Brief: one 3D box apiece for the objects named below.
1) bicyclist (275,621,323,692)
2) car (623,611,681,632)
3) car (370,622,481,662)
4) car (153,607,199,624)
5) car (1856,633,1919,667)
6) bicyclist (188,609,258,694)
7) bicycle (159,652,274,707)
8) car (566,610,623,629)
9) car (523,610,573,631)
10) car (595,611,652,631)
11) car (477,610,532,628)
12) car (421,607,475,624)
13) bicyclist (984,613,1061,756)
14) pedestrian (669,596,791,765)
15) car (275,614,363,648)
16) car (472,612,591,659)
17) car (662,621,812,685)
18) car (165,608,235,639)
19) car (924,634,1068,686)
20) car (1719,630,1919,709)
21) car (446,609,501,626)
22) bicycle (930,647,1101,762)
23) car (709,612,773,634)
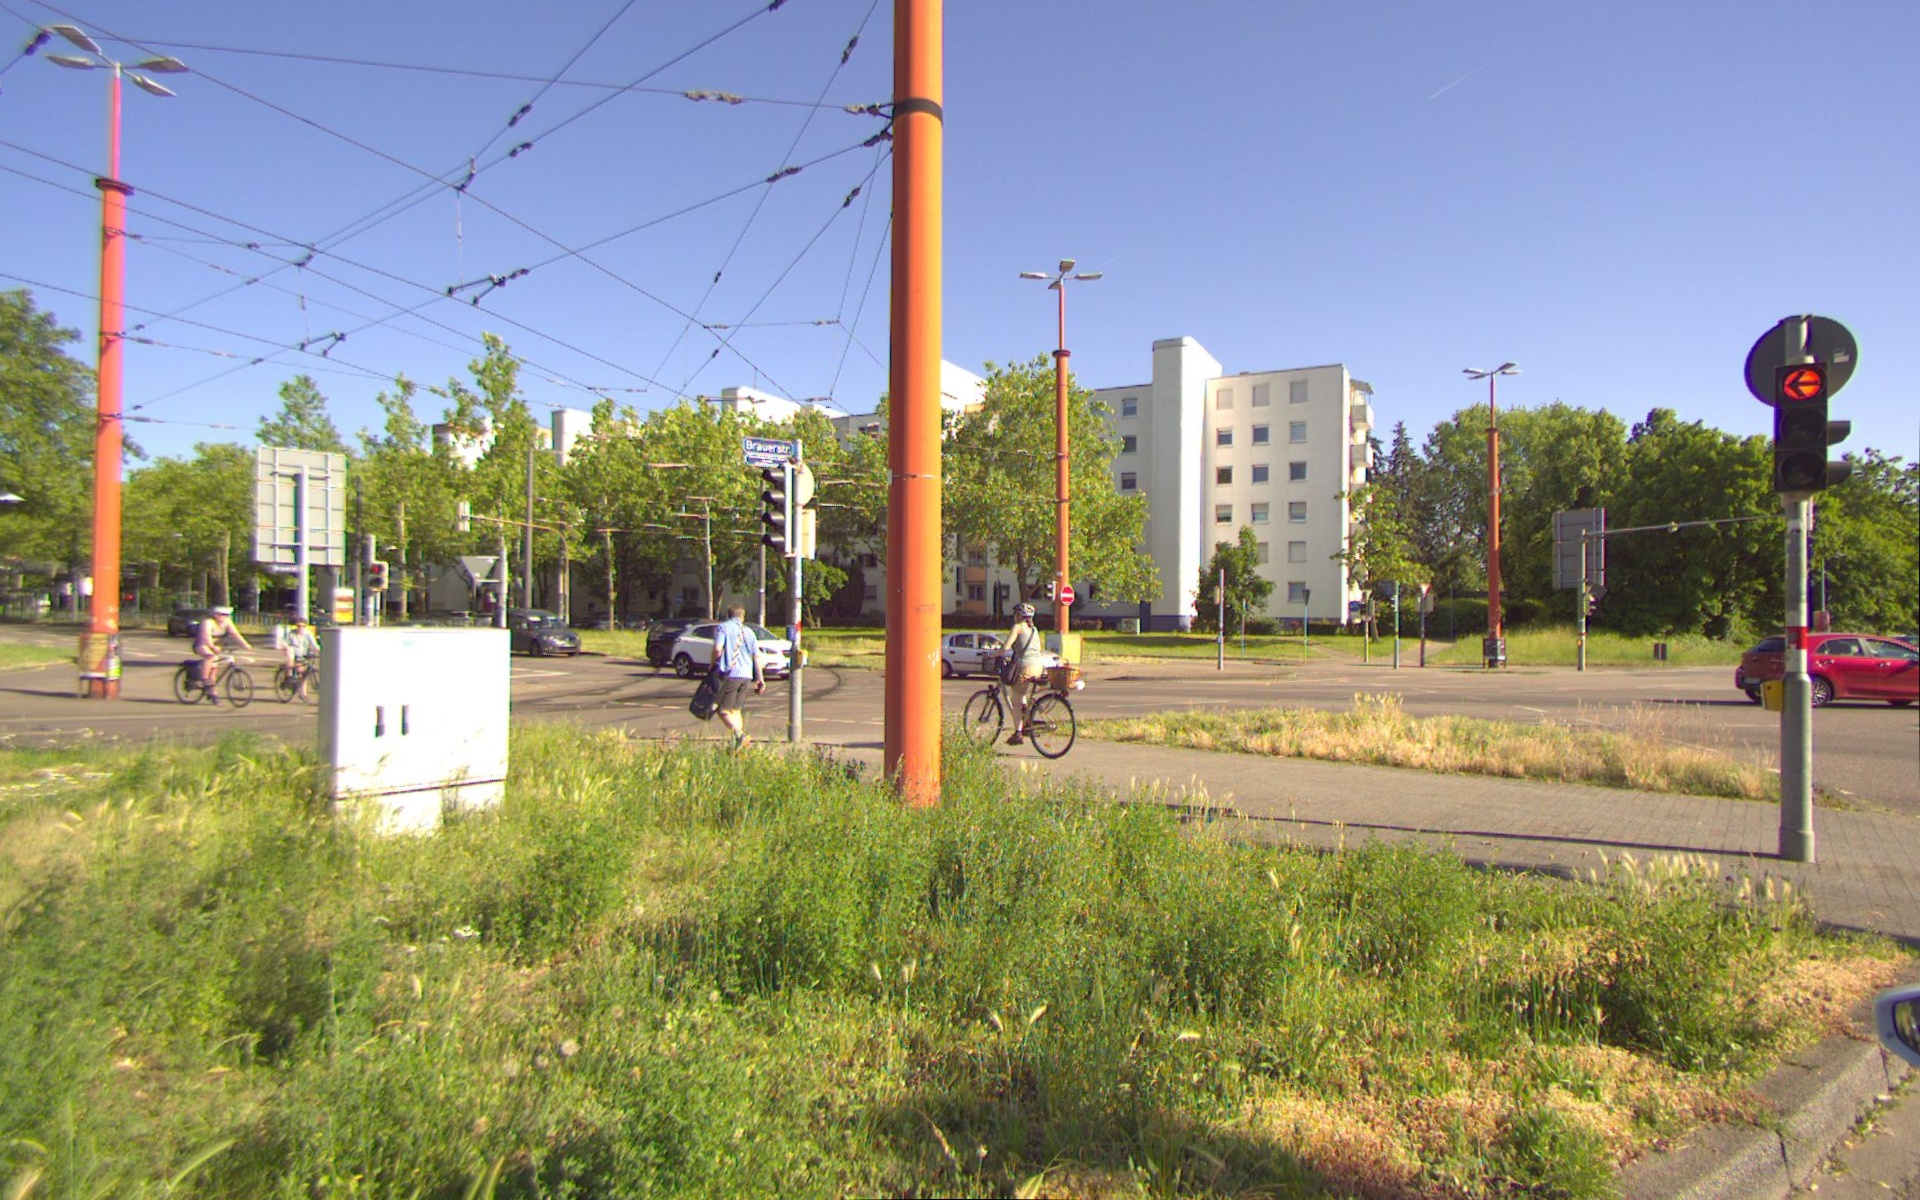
[{"bbox_3d":[-13.127,1.115,19.958,0.616,1.399,0.443,1,-1,-1],"label":"bicyclist"},{"bbox_3d":[-22.256,1.542,72.646,3.934,1.428,1.794,1,-1,-16],"label":"car"},{"bbox_3d":[-19.938,1.528,37.442,4.287,1.368,1.761,0,-1,32],"label":"car"},{"bbox_3d":[-93.989,1.868,120.456,1.969,2.040,3.984,0,-1,38],"label":"car"},{"bbox_3d":[37.156,1.962,39.622,3.571,1.260,1.730,1,-1,-31],"label":"car"},{"bbox_3d":[-13.911,0.955,18.989,0.752,1.565,0.732,1,-1,-1],"label":"bicyclist"},{"bbox_3d":[-13.971,1.484,18.907,1.612,0.974,0.685,1,-1,-1],"label":"bicycle"},{"bbox_3d":[-27.578,1.480,75.921,3.934,1.428,1.794,1,-1,-16],"label":"car"},{"bbox_3d":[-29.485,1.474,71.864,3.941,1.416,1.748,0,-1,41],"label":"car"},{"bbox_3d":[-24.996,1.550,74.697,3.934,1.428,1.794,1,-1,-16],"label":"car"},{"bbox_3d":[-38.032,1.560,83.885,3.935,1.428,1.794,1,-1,-17],"label":"car"},{"bbox_3d":[-44.790,1.379,87.896,3.935,1.428,1.794,1,-1,-17],"label":"car"},{"bbox_3d":[0.734,0.955,11.745,0.651,1.605,0.671,0,-1,33],"label":"bicyclist"},{"bbox_3d":[-2.636,0.881,11.534,0.973,1.817,0.951,0,-1,38],"label":"pedestrian"},{"bbox_3d":[-27.545,1.321,43.131,4.292,1.368,1.759,0,-1,36],"label":"car"},{"bbox_3d":[-16.697,1.350,39.151,4.225,1.730,1.851,0,-1,24],"label":"car"},{"bbox_3d":[-6.448,1.471,28.923,4.181,1.658,1.824,0,-1,33],"label":"car"},{"bbox_3d":[-43.897,1.329,58.000,4.233,1.730,1.847,0,-1,33],"label":"car"},{"bbox_3d":[1.051,1.699,29.233,3.923,1.363,1.487,0,-1,24],"label":"car"},{"bbox_3d":[17.887,1.359,20.103,3.982,1.454,1.687,0,-1,10],"label":"car"},{"bbox_3d":[-41.435,1.478,85.626,3.935,1.428,1.794,1,-1,-17],"label":"car"},{"bbox_3d":[0.630,1.180,11.812,1.915,1.210,0.690,0,-1,33],"label":"bicycle"},{"bbox_3d":[-14.542,1.546,66.843,1.770,1.428,3.987,0,-1,35],"label":"car"}]
